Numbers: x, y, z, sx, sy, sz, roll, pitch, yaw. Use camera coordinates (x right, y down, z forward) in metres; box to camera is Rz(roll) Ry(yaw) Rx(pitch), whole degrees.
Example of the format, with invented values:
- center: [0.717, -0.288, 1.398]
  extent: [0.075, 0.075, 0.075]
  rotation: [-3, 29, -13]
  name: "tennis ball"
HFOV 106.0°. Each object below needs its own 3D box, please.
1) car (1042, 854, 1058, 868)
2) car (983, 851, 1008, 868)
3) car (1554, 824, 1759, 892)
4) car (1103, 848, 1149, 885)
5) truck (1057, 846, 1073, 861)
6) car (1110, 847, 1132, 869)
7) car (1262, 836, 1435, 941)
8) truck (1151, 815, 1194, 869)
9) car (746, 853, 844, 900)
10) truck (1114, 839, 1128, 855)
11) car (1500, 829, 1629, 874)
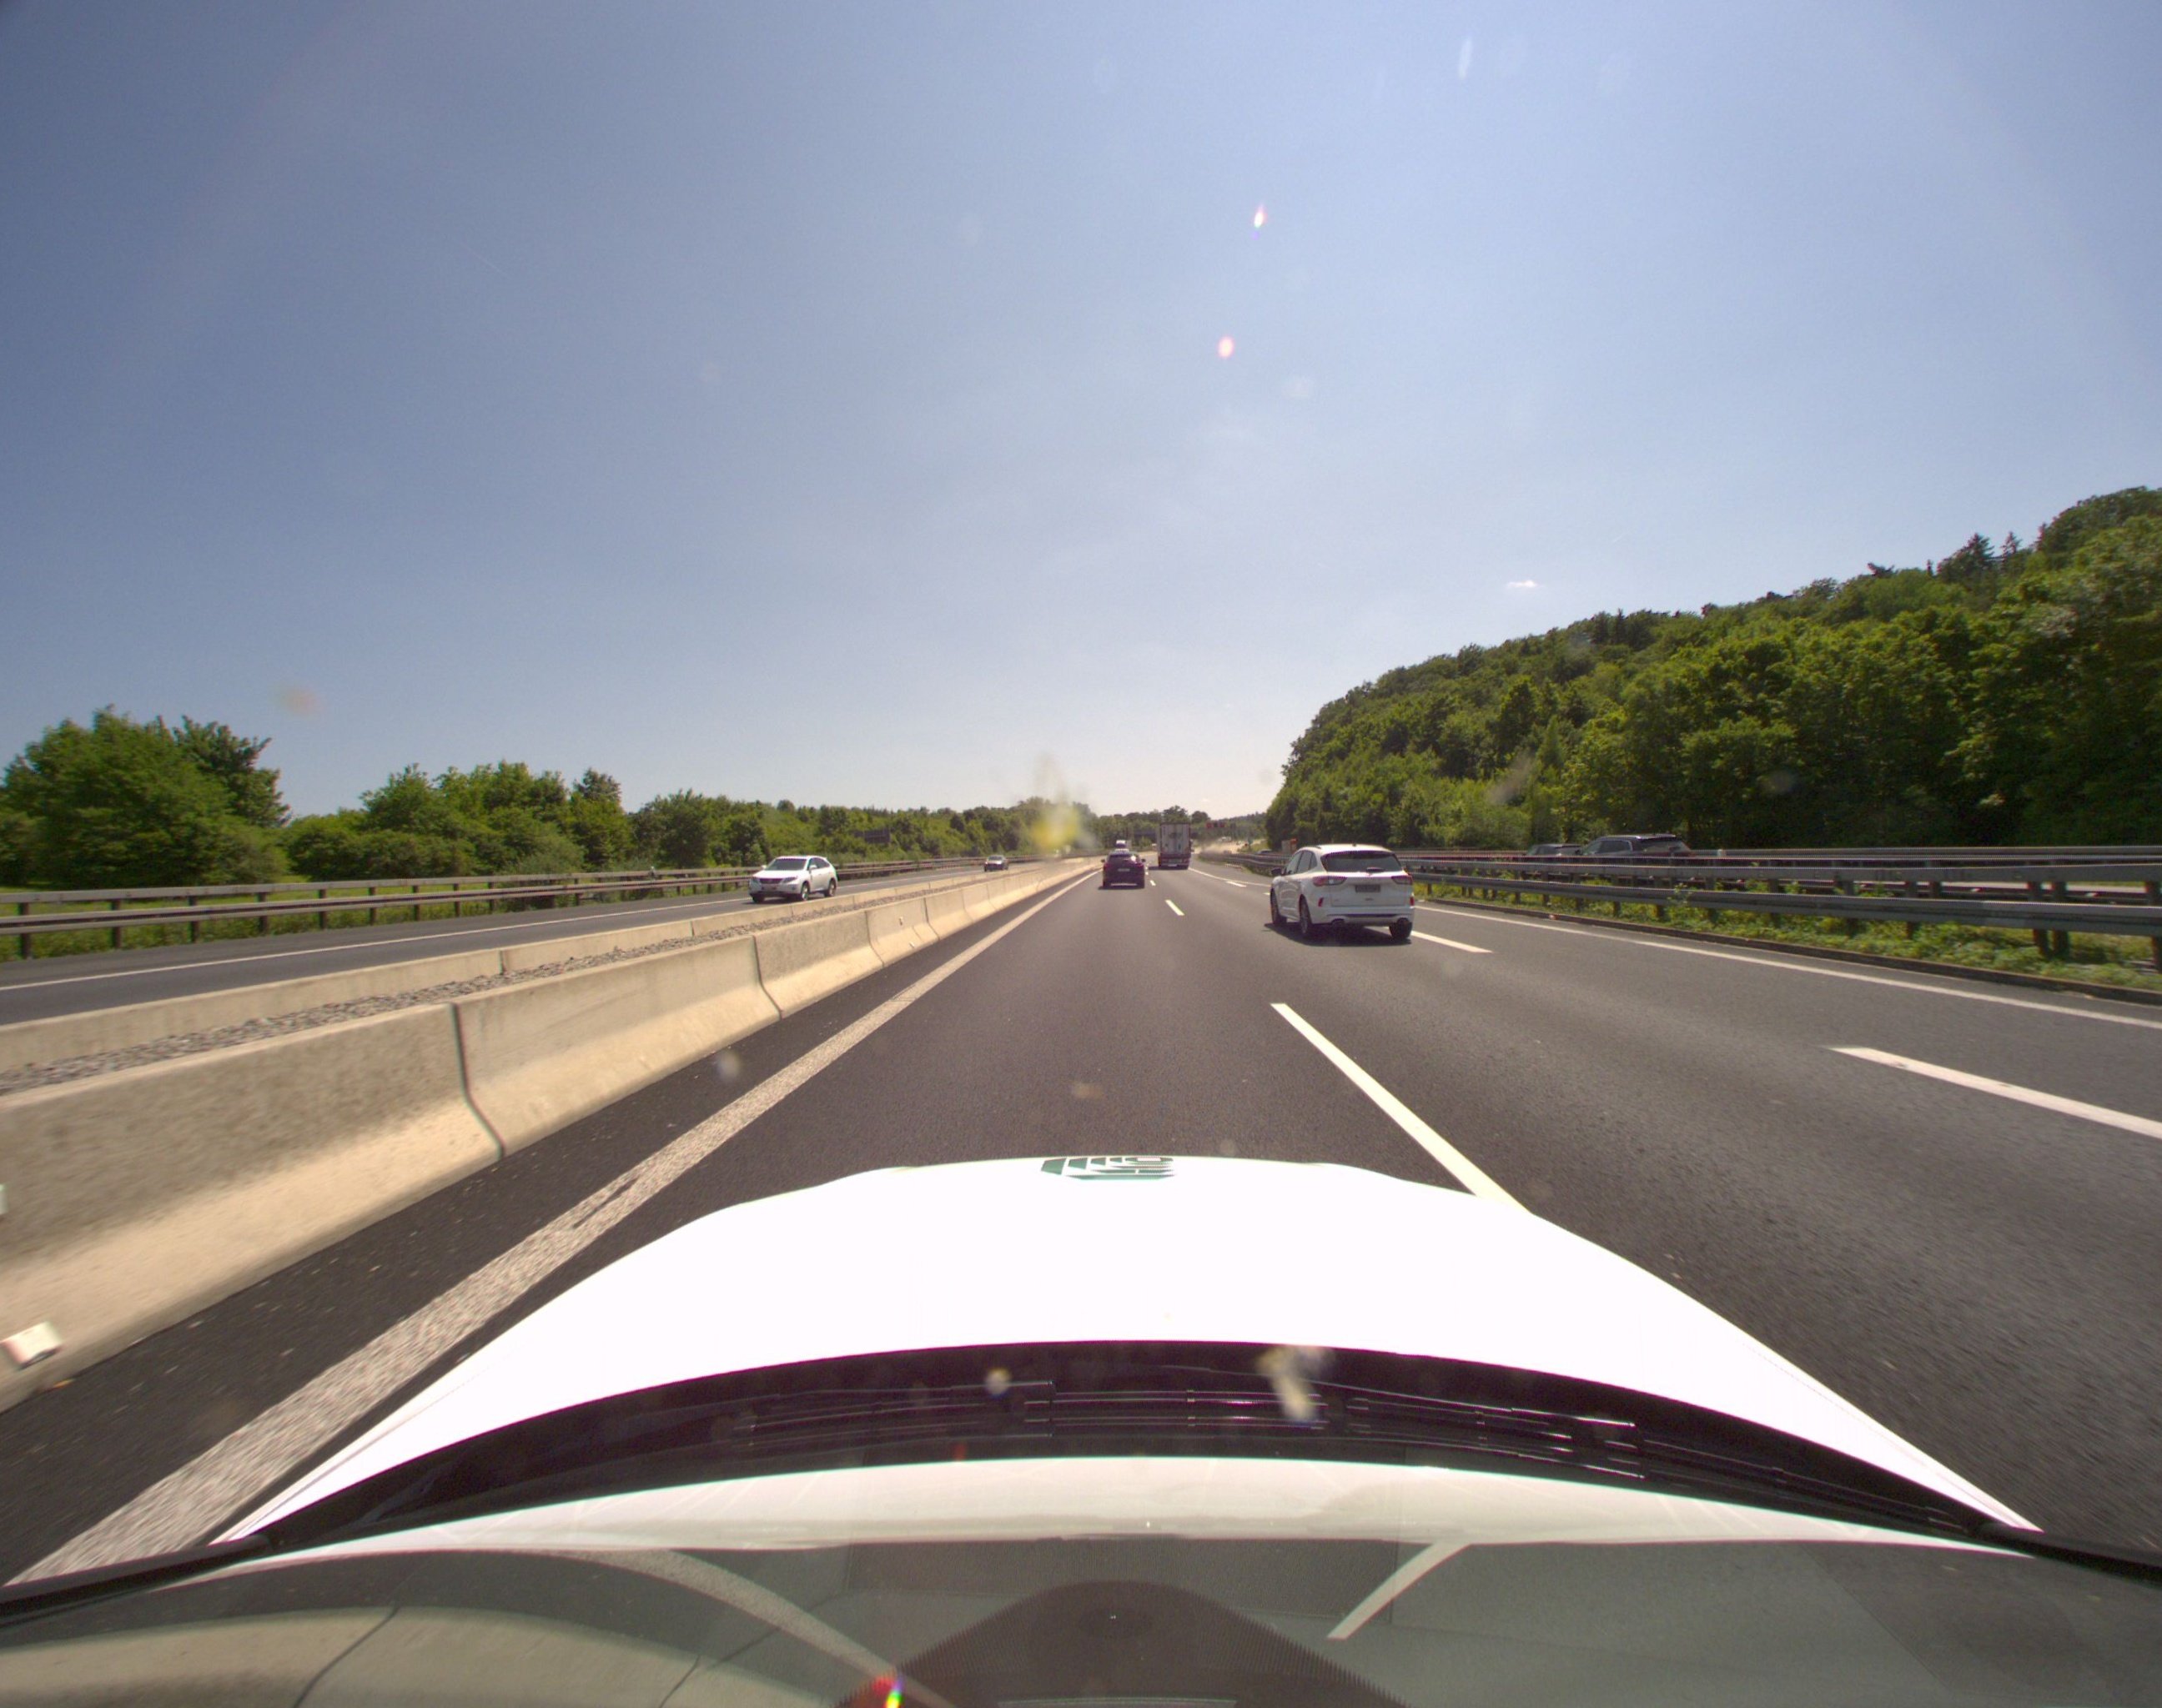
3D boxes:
- center: [-4.513, 0.996, 119.261]
  extent: [1.986, 2.014, 5.383]
  rotation: [-1, -1, 2]
  name: "car"
- center: [-8.018, 0.503, 76.954]
  extent: [1.720, 1.532, 4.264]
  rotation: [0, 0, 3]
  name: "car"
- center: [16.121, 0.135, 23.310]
  extent: [1.986, 1.662, 5.628]
  rotation: [-1, -1, 1]
  name: "car"
- center: [1.917, 0.546, 35.995]
  extent: [1.774, 1.577, 3.998]
  rotation: [0, -1, -1]
  name: "car"
- center: [-4.429, -0.150, 226.197]
  extent: [2.682, 3.959, 10.803]
  rotation: [-1, -1, 9]
  name: "truck"
- center: [4.008, 0.353, 81.998]
  extent: [1.986, 2.013, 4.002]
  rotation: [-4, 0, 2]
  name: "car"
- center: [4.837, 0.579, 15.442]
  extent: [1.985, 1.662, 4.471]
  rotation: [-1, -1, 3]
  name: "car"
- center: [8.183, -0.959, 74.254]
  extent: [3.020, 4.418, 12.026]
  rotation: [-1, -1, 3]
  name: "truck"
- center: [-10.721, 0.787, 30.960]
  extent: [1.780, 1.632, 4.933]
  rotation: [-1, 0, 3]
  name: "car"
- center: [11.123, -1.848, 223.333]
  extent: [2.682, 3.959, 10.803]
  rotation: [-1, -1, 9]
  name: "truck"
- center: [19.834, -0.096, 33.752]
  extent: [1.989, 1.662, 5.221]
  rotation: [-2, 0, -3]
  name: "car"
